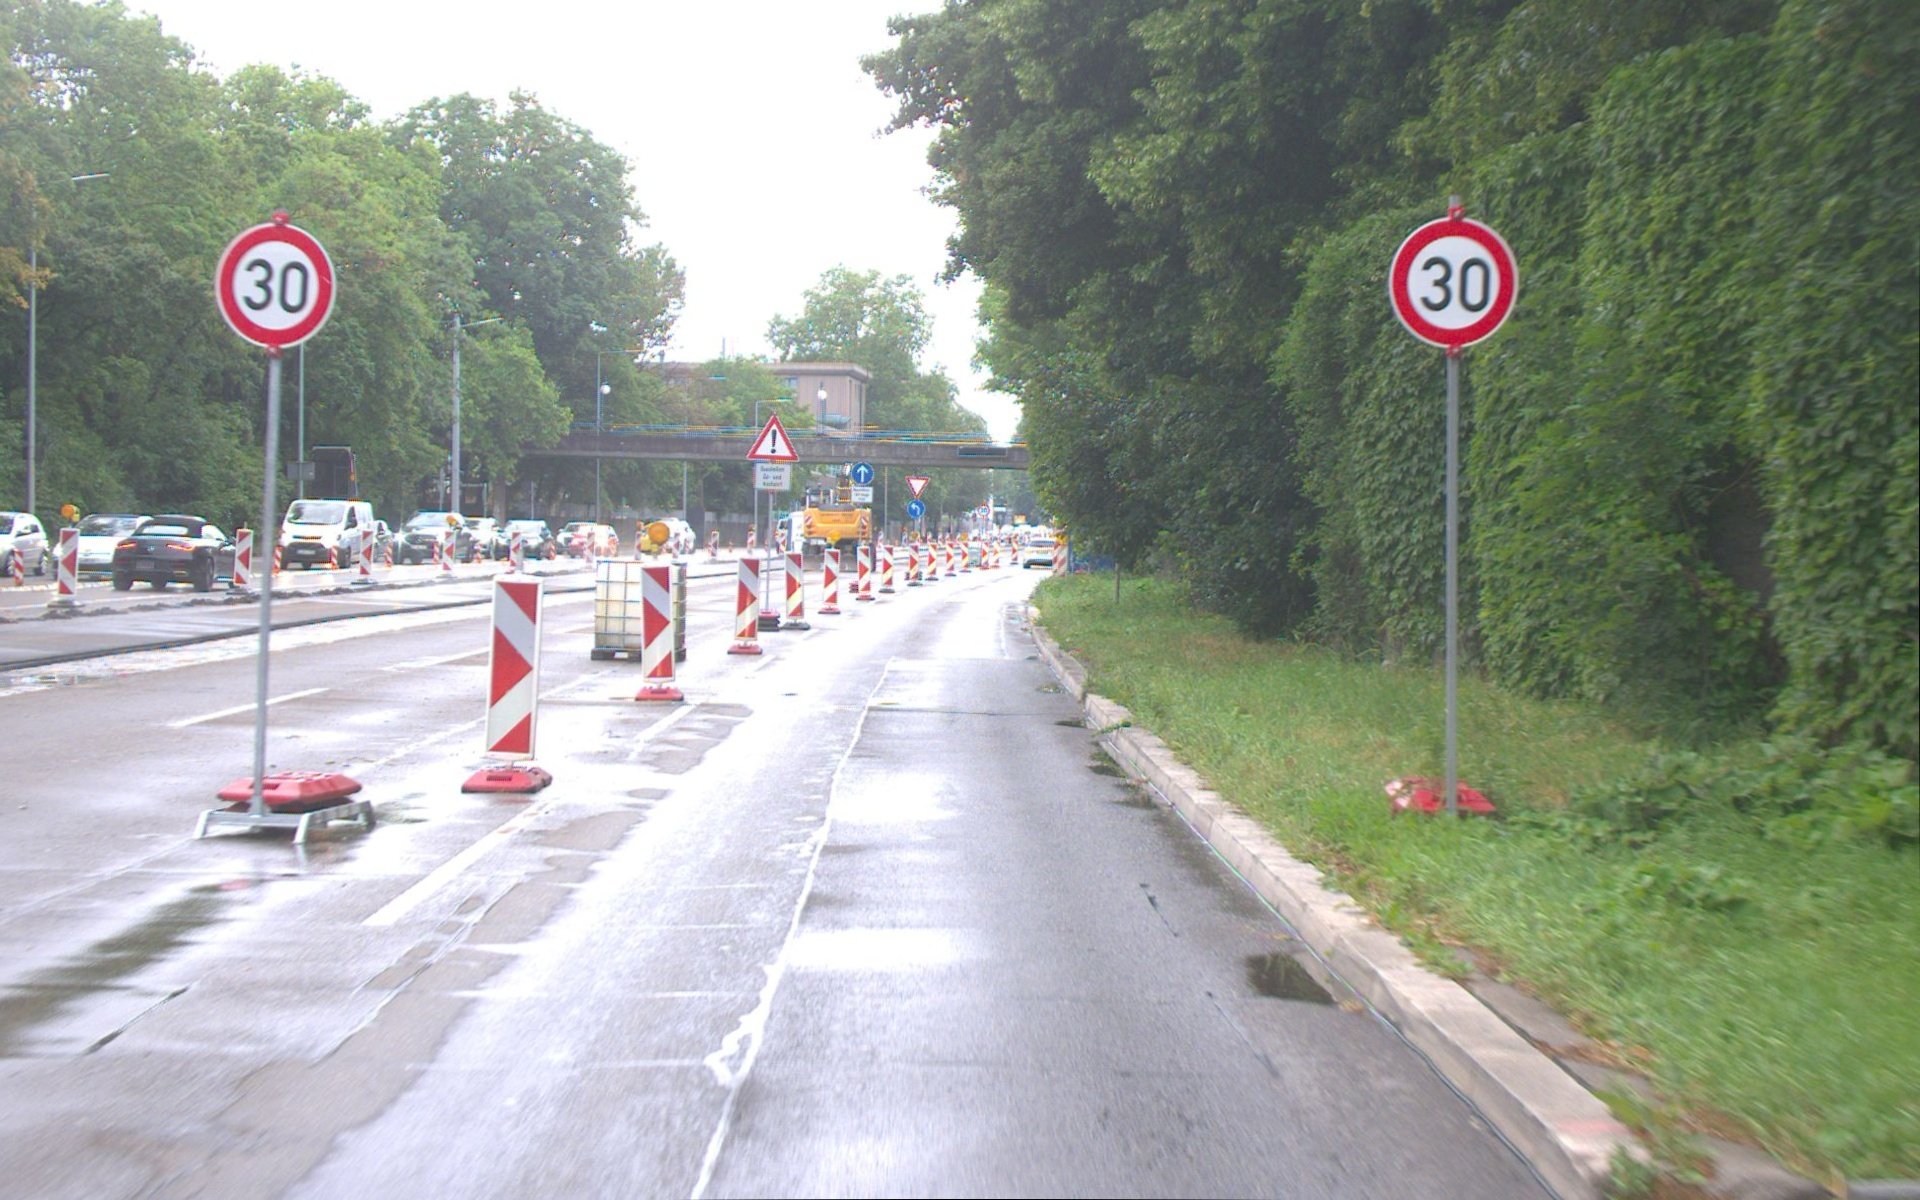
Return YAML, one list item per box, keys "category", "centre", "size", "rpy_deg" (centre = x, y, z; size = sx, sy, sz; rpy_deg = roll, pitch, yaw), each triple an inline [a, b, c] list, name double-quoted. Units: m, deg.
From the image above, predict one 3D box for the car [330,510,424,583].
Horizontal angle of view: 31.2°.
- category: "car"
  centre: [-16.536, -1.557, 97.701]
  size: [1.993, 1.965, 4.904]
  rpy_deg: [2, 1, -3]

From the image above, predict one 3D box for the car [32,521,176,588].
- category: "car"
  centre: [-18.746, -1.009, 75.448]
  size: [1.993, 1.411, 4.393]
  rpy_deg: [0, 1, 1]

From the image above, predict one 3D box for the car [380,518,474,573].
- category: "car"
  centre: [-17.551, -1.816, 113.397]
  size: [2.021, 1.719, 5.012]
  rpy_deg: [2, 1, 3]

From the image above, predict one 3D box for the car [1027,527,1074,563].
- category: "car"
  centre: [4.238, -2.567, 160.899]
  size: [1.994, 1.634, 4.000]
  rpy_deg: [0, 1, 4]

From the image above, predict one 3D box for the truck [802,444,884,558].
- category: "truck"
  centre: [-4.541, -3.885, 135.609]
  size: [2.897, 4.244, 10.757]
  rpy_deg: [2, 1, -1]
